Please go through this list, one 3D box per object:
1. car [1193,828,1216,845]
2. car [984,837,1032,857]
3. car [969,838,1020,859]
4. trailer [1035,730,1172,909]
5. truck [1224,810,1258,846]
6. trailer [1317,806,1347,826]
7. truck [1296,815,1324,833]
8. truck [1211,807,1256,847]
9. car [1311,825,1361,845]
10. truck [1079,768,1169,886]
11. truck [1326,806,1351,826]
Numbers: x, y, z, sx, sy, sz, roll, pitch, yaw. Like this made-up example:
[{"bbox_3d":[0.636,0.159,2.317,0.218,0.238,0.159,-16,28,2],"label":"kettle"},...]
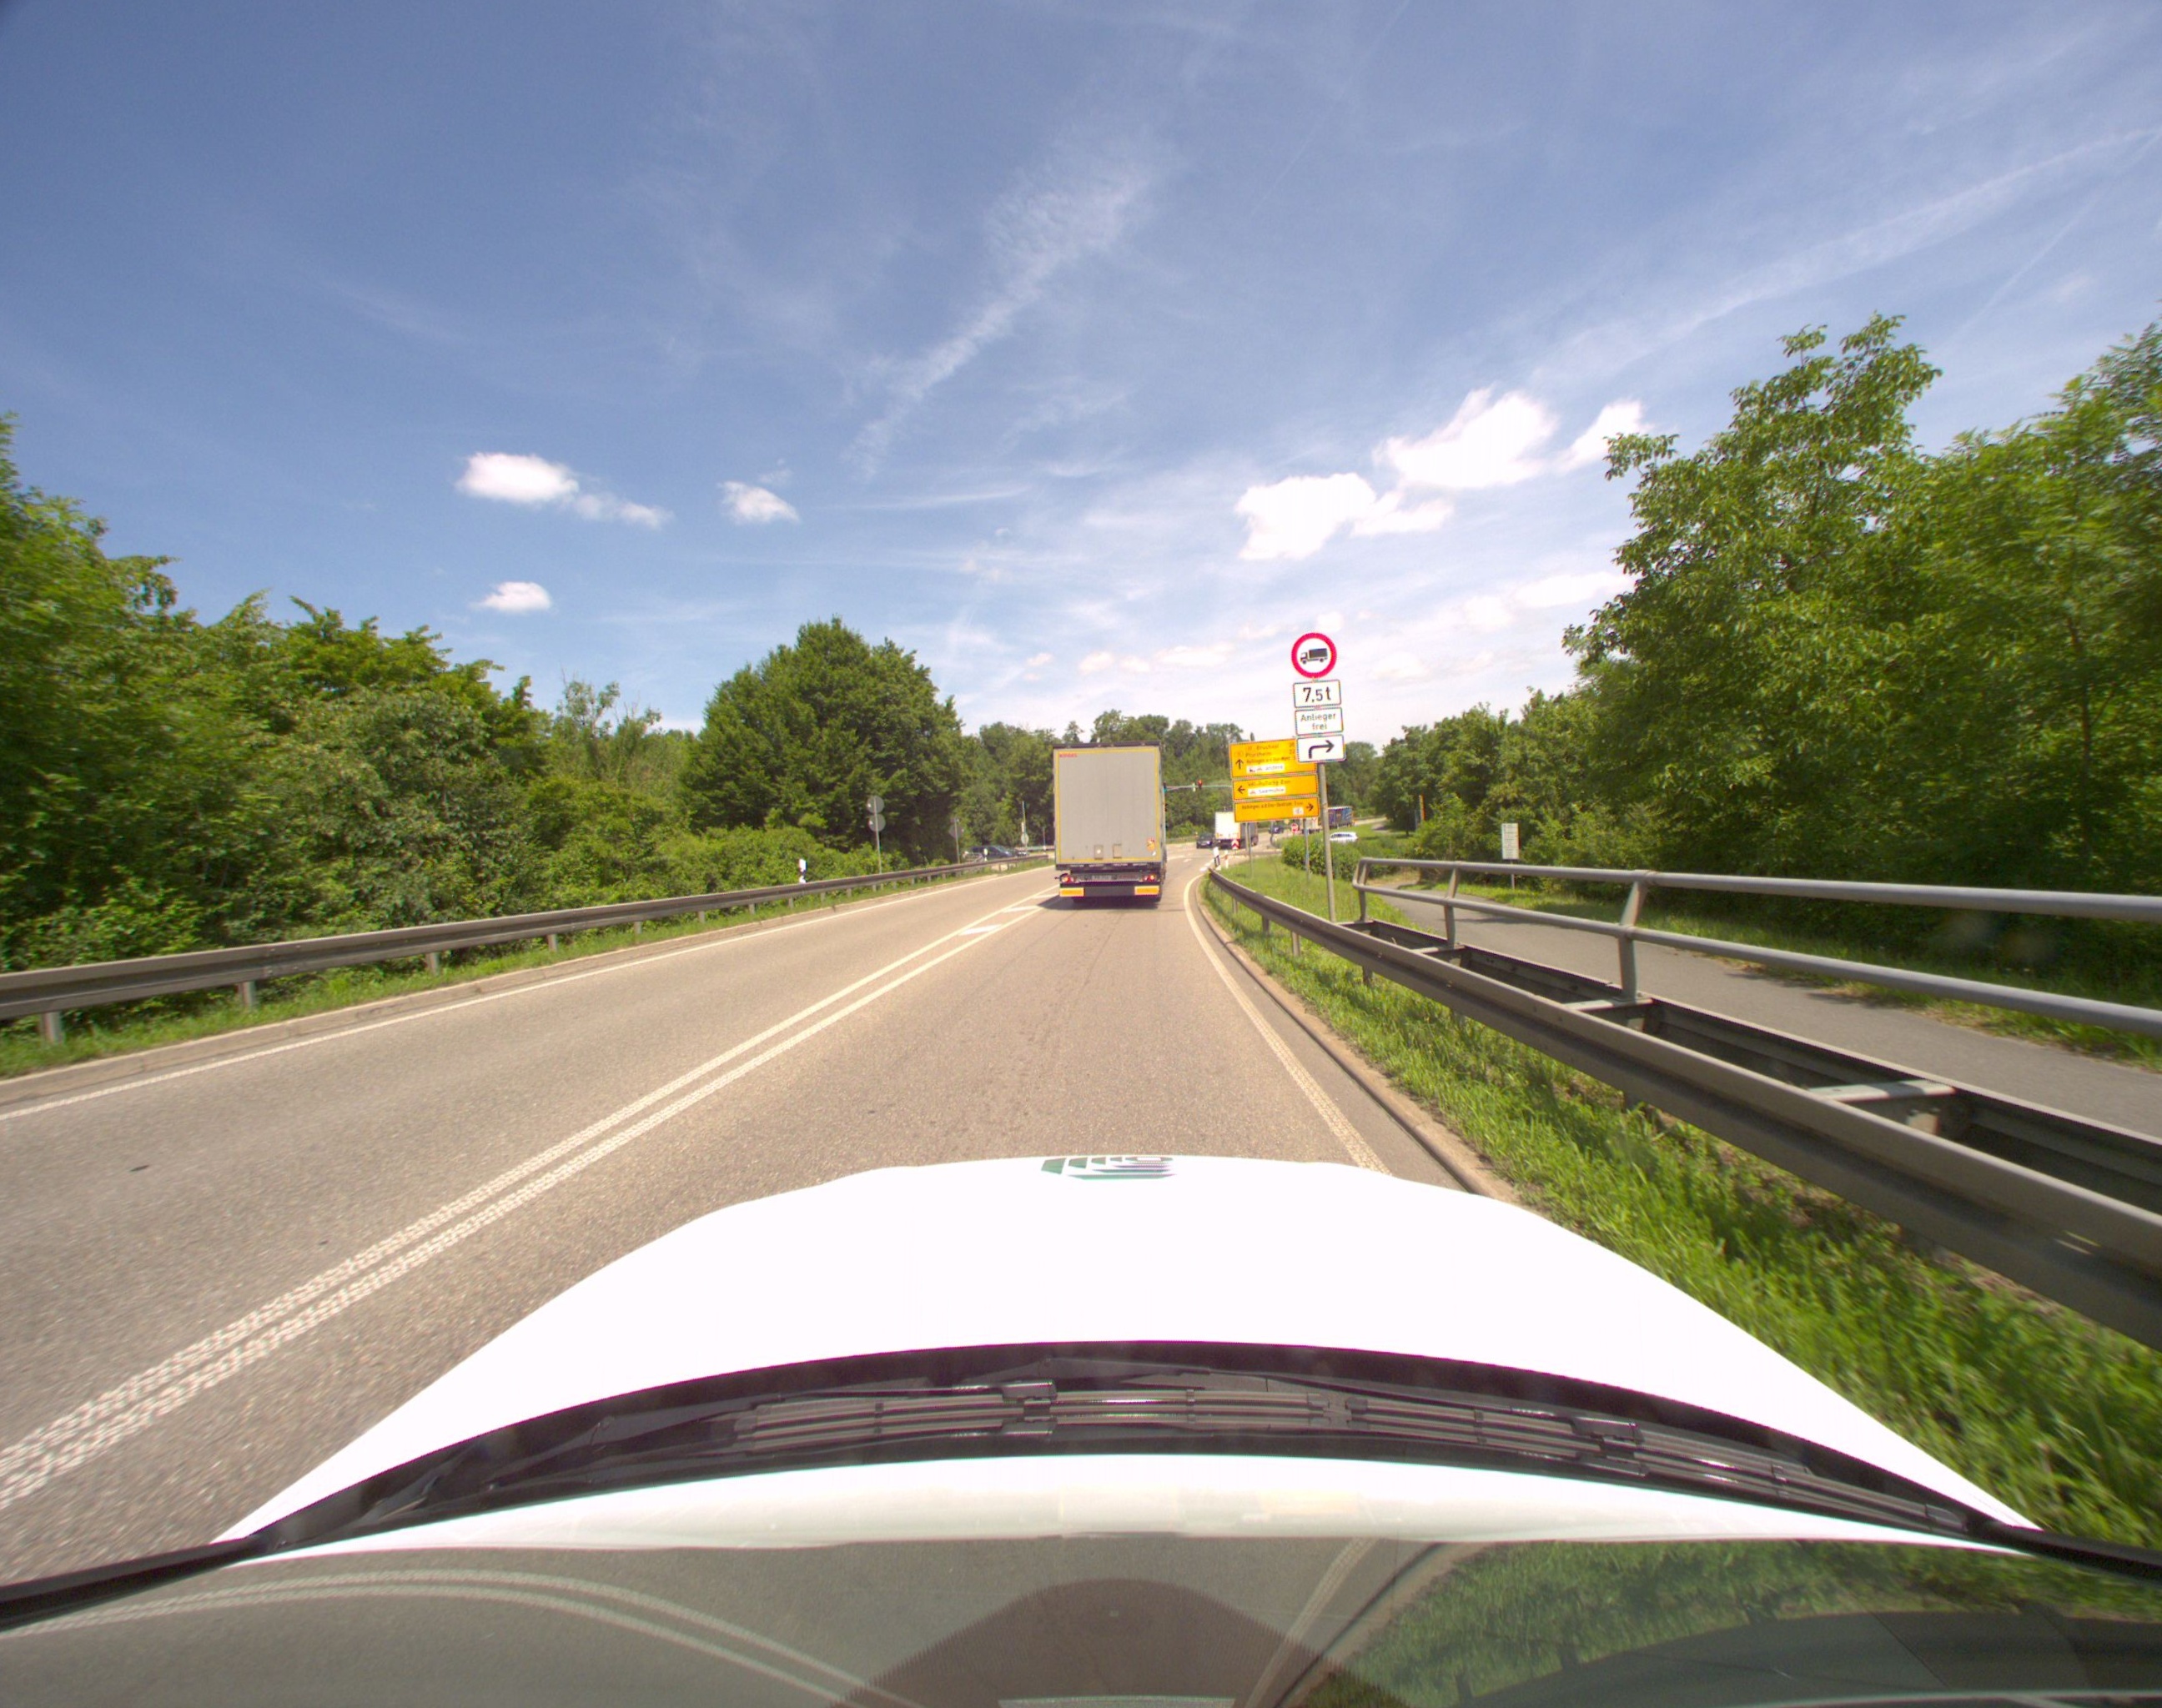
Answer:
[{"bbox_3d":[14.070,-1.931,92.759,1.978,1.785,4.963,0,0,16],"label":"car"},{"bbox_3d":[-7.109,-0.682,79.454,4.199,1.770,2.010,-1,1,19],"label":"car"},{"bbox_3d":[-7.971,-0.527,75.398,4.199,1.770,2.010,-1,1,19],"label":"car"},{"bbox_3d":[1.140,-0.877,25.075,3.036,4.033,12.579,-2,1,6],"label":"trailer"},{"bbox_3d":[18.701,-2.921,94.837,3.143,4.004,5.842,-1,0,18],"label":"truck"},{"bbox_3d":[47.962,-7.225,155.190,3.220,3.685,9.310,-1,2,31],"label":"trailer"},{"bbox_3d":[39.623,-5.158,140.713,2.828,2.947,7.150,-1,2,31],"label":"truck"},{"bbox_3d":[16.802,-2.847,89.089,3.153,4.028,11.801,-1,0,18],"label":"truck"},{"bbox_3d":[24.367,-1.805,77.972,4.395,1.718,2.008,0,0,14],"label":"car"},{"bbox_3d":[1.829,-0.986,31.874,3.023,4.033,6.640,-2,1,6],"label":"truck"},{"bbox_3d":[50.246,-7.391,158.946,3.220,3.685,6.284,-1,2,31],"label":"truck"}]
